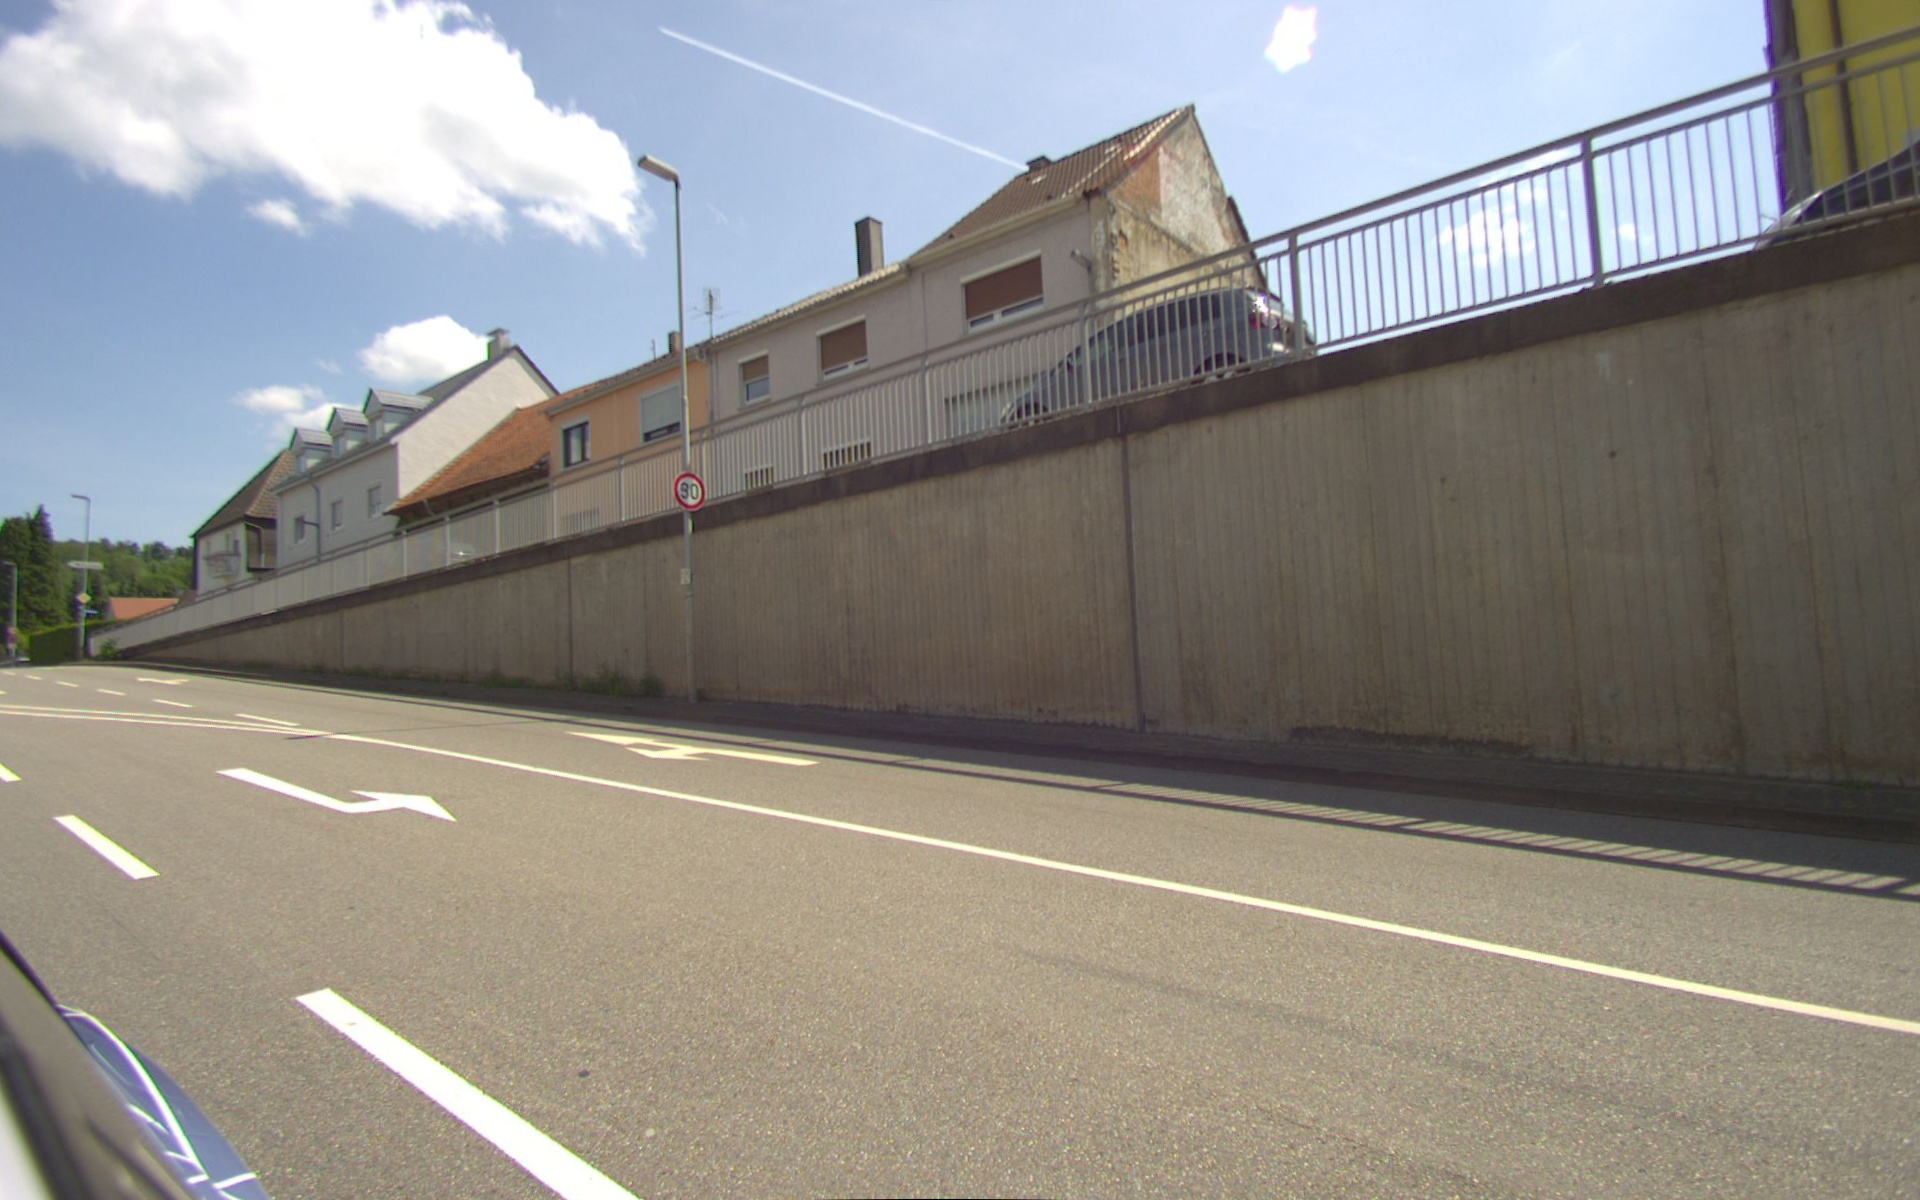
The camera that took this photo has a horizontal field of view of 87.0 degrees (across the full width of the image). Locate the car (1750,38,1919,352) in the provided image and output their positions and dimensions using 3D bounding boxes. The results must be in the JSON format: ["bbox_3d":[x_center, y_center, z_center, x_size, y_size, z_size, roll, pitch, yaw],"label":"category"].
[{"bbox_3d":[8.423,-3.277,7.273,4.217,1.718,1.804,-5,-4,39],"label":"car"}]

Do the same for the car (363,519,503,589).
[{"bbox_3d":[-14.285,-1.172,27.346,4.388,1.416,1.768,-5,-4,39],"label":"car"}]

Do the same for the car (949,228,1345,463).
[{"bbox_3d":[2.145,-2.871,12.361,4.388,1.536,1.781,-5,-4,39],"label":"car"}]
